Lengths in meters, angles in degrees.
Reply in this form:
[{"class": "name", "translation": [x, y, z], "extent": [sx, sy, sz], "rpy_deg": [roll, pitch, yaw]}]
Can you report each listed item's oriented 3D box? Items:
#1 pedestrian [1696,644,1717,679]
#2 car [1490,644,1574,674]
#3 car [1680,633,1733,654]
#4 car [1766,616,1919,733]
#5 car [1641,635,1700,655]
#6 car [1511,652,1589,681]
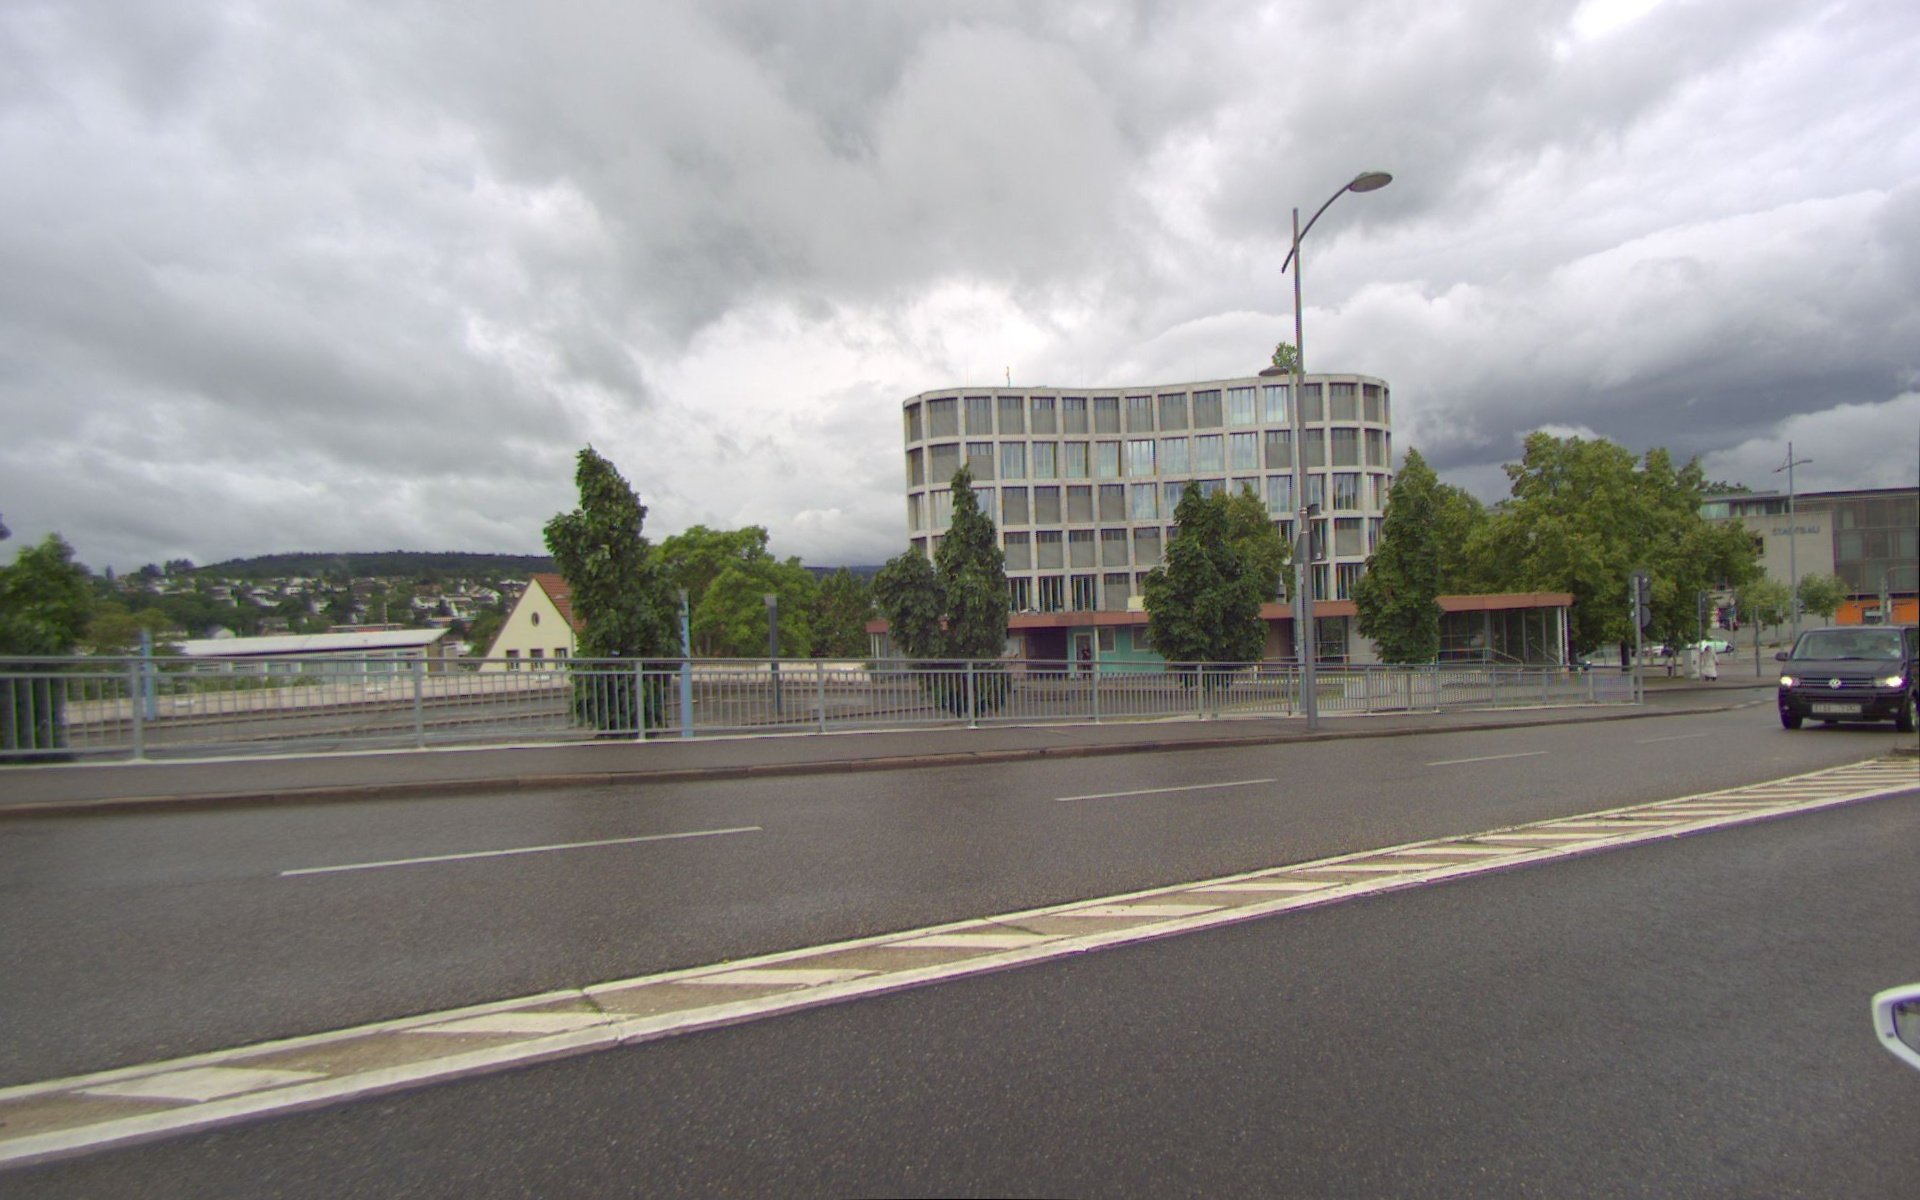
[{"class": "pedestrian", "translation": [34.095, 2.819, 45.883], "extent": [0.643, 1.590, 0.629], "rpy_deg": [-4, -4, 35]}, {"class": "car", "translation": [34.065, 3.512, 59.931], "extent": [3.974, 1.528, 1.729], "rpy_deg": [-3, -2, 13]}, {"class": "car", "translation": [61.178, 3.557, 82.363], "extent": [3.522, 1.515, 1.628], "rpy_deg": [-3, -2, -15]}, {"class": "car", "translation": [17.263, 1.421, 19.387], "extent": [4.650, 1.993, 1.829], "rpy_deg": [3, -6, -42]}, {"class": "car", "translation": [62.114, 3.939, 87.846], "extent": [3.712, 1.515, 1.767], "rpy_deg": [-3, -2, 8]}, {"class": "car", "translation": [36.384, 4.098, 62.036], "extent": [3.761, 1.588, 1.729], "rpy_deg": [-3, -2, 13]}]
